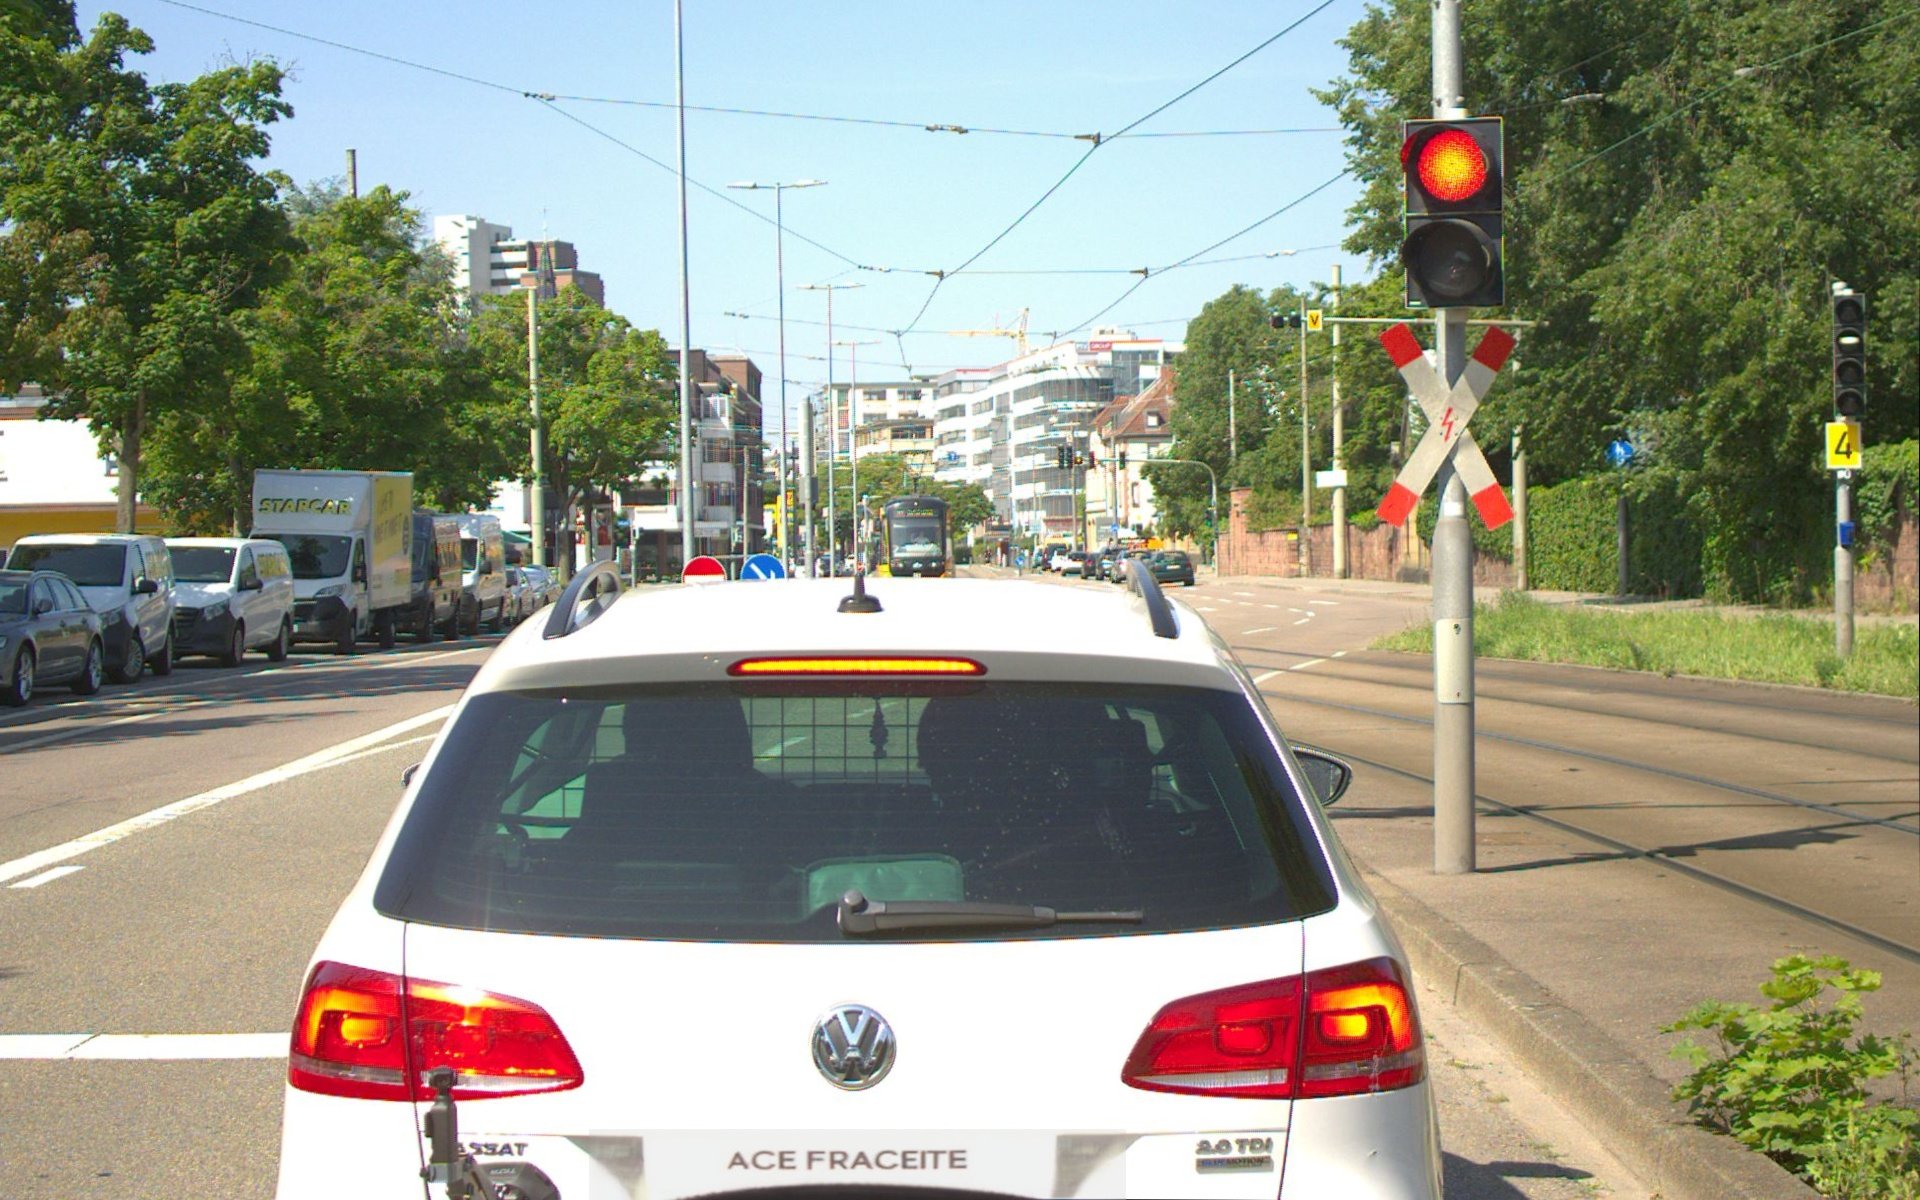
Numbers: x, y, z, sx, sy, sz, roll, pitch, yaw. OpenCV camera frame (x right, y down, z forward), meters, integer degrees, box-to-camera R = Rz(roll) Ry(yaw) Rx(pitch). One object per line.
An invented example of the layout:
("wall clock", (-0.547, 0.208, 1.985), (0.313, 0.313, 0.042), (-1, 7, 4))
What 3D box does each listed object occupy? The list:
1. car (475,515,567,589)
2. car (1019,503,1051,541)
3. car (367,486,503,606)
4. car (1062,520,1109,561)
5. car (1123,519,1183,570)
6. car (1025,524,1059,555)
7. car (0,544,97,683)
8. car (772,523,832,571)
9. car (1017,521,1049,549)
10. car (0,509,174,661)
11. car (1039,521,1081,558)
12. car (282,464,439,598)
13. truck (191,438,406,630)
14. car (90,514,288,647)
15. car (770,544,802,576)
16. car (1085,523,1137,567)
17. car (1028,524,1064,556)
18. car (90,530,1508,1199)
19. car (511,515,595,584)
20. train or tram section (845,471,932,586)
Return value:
("car", (-11.673, -1.304, 91.749), (1.863, 1.861, 5.414), (1, 2, -1))
("car", (5.643, -5.890, 258.501), (2.056, 2.750, 5.632), (1, 2, -2))
("car", (-11.523, -1.220, 75.821), (2.123, 2.508, 5.734), (1, 2, 0))
("car", (6.011, -2.862, 164.910), (1.863, 1.861, 5.063), (1, 2, -2))
("car", (7.470, -2.170, 133.345), (1.863, 1.861, 5.063), (1, 2, -2))
("car", (5.271, -3.883, 220.523), (1.863, 1.861, 5.063), (1, 2, -2))
("car", (-11.178, 0.105, 38.797), (1.863, 1.411, 4.280), (1, 2, -1))
("car", (-5.138, -1.738, 112.339), (1.705, 1.468, 4.589), (-2, 2, 0))
("car", (4.984, -4.450, 235.145), (1.863, 1.861, 5.063), (1, 2, -2))
("car", (-11.644, -0.254, 45.401), (1.863, 1.861, 5.076), (1, 2, -6))
("car", (5.277, -3.194, 181.661), (1.863, 1.861, 5.063), (1, 2, -2))
("car", (-11.860, -1.388, 68.377), (2.123, 2.508, 5.734), (1, 2, 0))
("truck", (-11.512, -1.186, 60.381), (2.421, 3.139, 6.997), (1, 2, 0))
("car", (-11.581, -0.347, 51.976), (1.863, 1.861, 5.414), (1, 2, -1))
("car", (-10.637, -2.431, 210.241), (1.762, 1.889, 4.914), (1, 1, -1))
("car", (6.557, -2.411, 149.636), (1.863, 1.861, 5.063), (1, 2, -2))
("car", (5.135, -3.603, 205.477), (1.863, 1.861, 5.063), (1, 2, -2))
("car", (-0.225, 0.620, 6.332), (1.762, 1.425, 4.001), (-1, 2, -1))
("car", (-11.639, -1.481, 98.664), (1.863, 1.861, 5.414), (1, 2, -1))
("train or tram section", (-2.554, -2.619, 123.176), (2.870, 3.842, 12.393), (-1, 2, -1))
